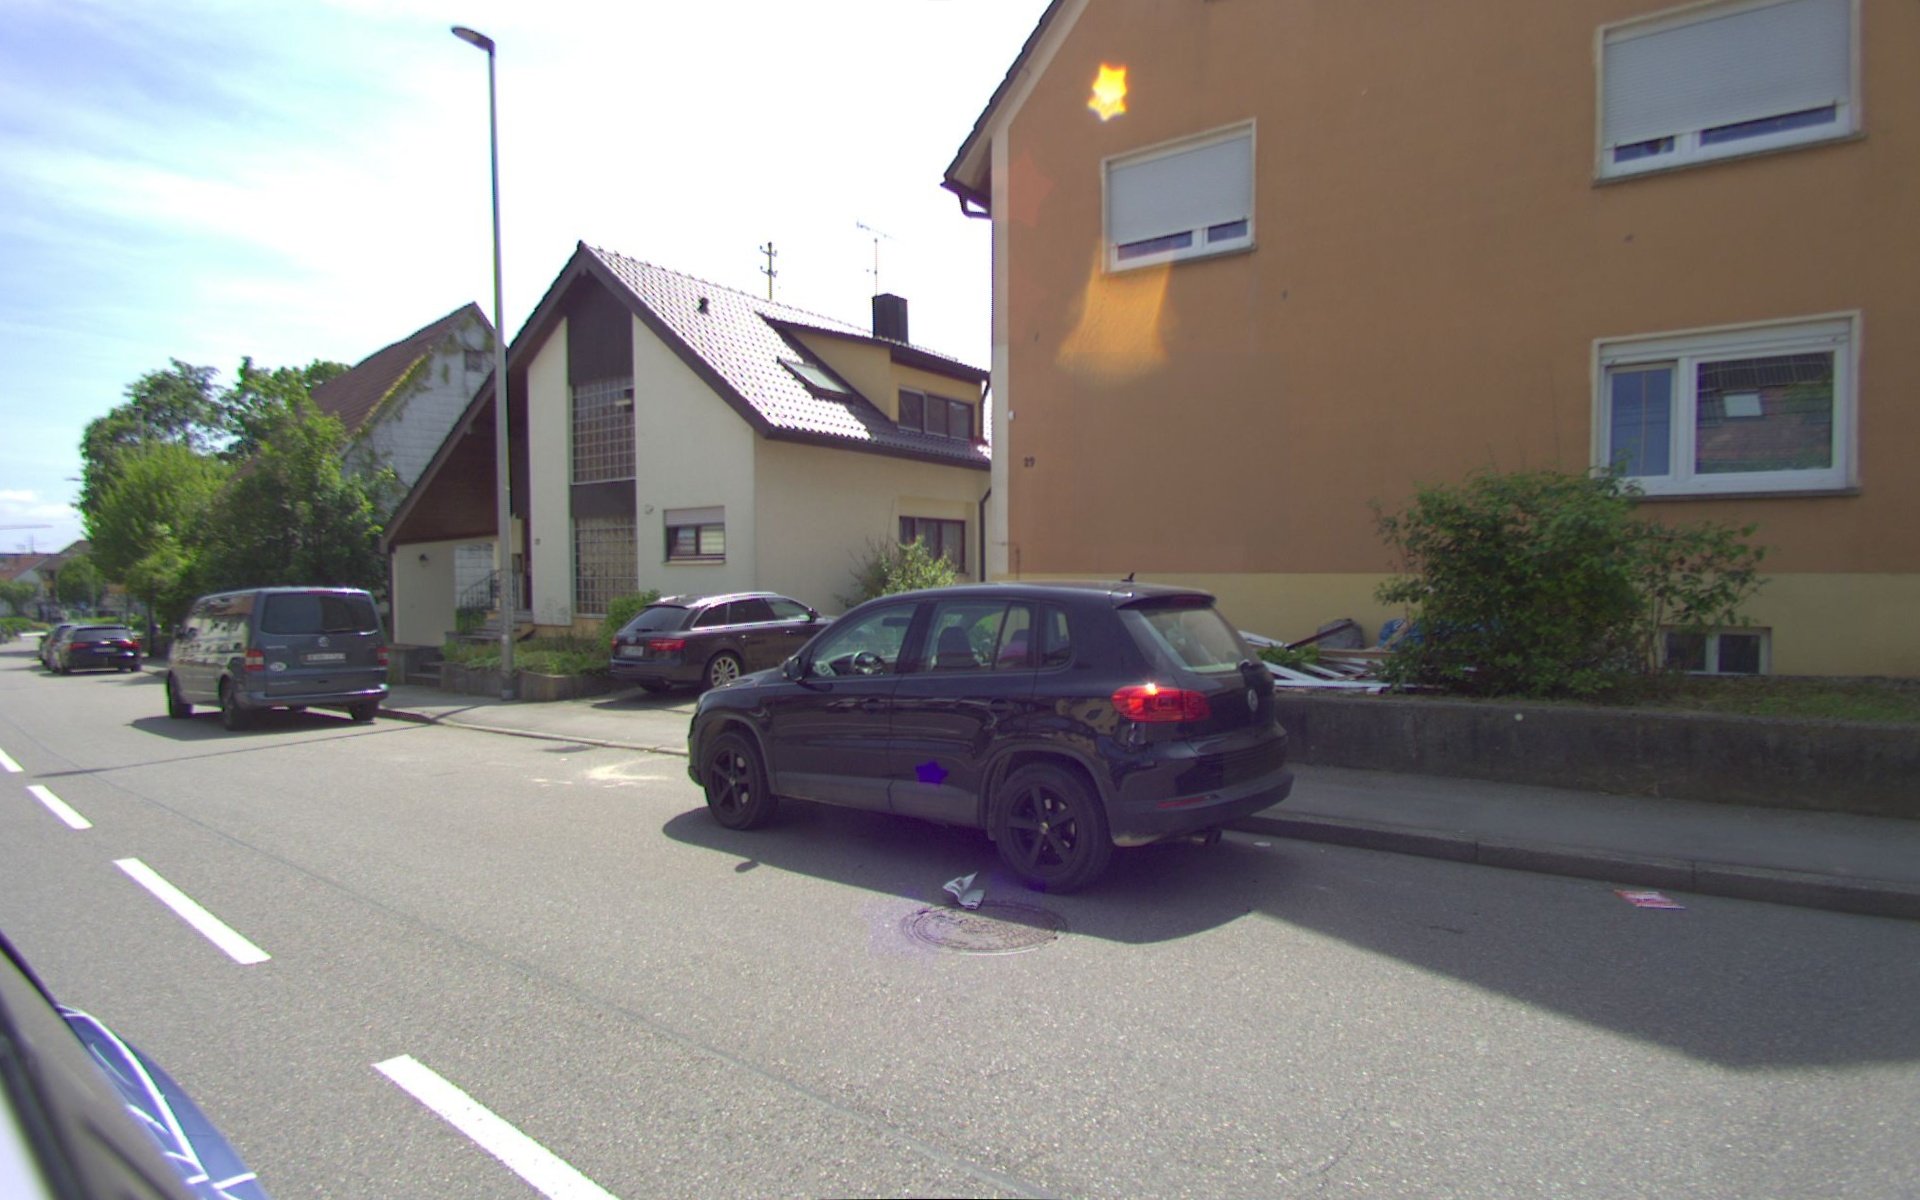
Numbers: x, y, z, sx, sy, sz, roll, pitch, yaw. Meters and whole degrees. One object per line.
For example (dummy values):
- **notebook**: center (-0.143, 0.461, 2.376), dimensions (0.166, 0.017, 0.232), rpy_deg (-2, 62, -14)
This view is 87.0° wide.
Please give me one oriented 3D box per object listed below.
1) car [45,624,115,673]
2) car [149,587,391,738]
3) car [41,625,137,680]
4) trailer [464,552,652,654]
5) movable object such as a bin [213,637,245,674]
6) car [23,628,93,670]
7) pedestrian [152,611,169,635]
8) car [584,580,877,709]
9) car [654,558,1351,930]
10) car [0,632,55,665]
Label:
- **car**: center (-30.456, 1.666, 35.014), dimensions (1.734, 1.532, 4.306), rpy_deg (-1, -1, -42)
- **car**: center (-10.661, 0.854, 15.479), dimensions (4.983, 1.952, 1.871), rpy_deg (-1, -1, 41)
- **car**: center (-26.273, 1.545, 30.477), dimensions (4.777, 1.484, 1.798), rpy_deg (-2, -1, 44)
- **trailer**: center (-10.146, 0.017, 25.758), dimensions (1.998, 2.027, 3.795), rpy_deg (-1, 7, 40)
- **movable object such as a bin**: center (-19.444, 1.459, 26.920), dimensions (0.585, 0.908, 0.496), rpy_deg (-1, 5, 39)
- **car**: center (-34.608, 1.847, 38.792), dimensions (1.768, 1.474, 4.715), rpy_deg (0, -1, -45)
- **pedestrian**: center (-54.825, 1.557, 69.375), dimensions (0.627, 1.628, 0.724), rpy_deg (-1, 1, 33)
- **car**: center (-3.371, 0.579, 15.616), dimensions (1.818, 1.415, 4.193), rpy_deg (-2, 4, 36)
- **car**: center (0.048, 0.684, 6.528), dimensions (4.282, 1.648, 1.751), rpy_deg (-2, -1, 39)
- **car**: center (-44.358, 2.289, 48.164), dimensions (1.782, 1.434, 4.936), rpy_deg (0, -2, -40)
